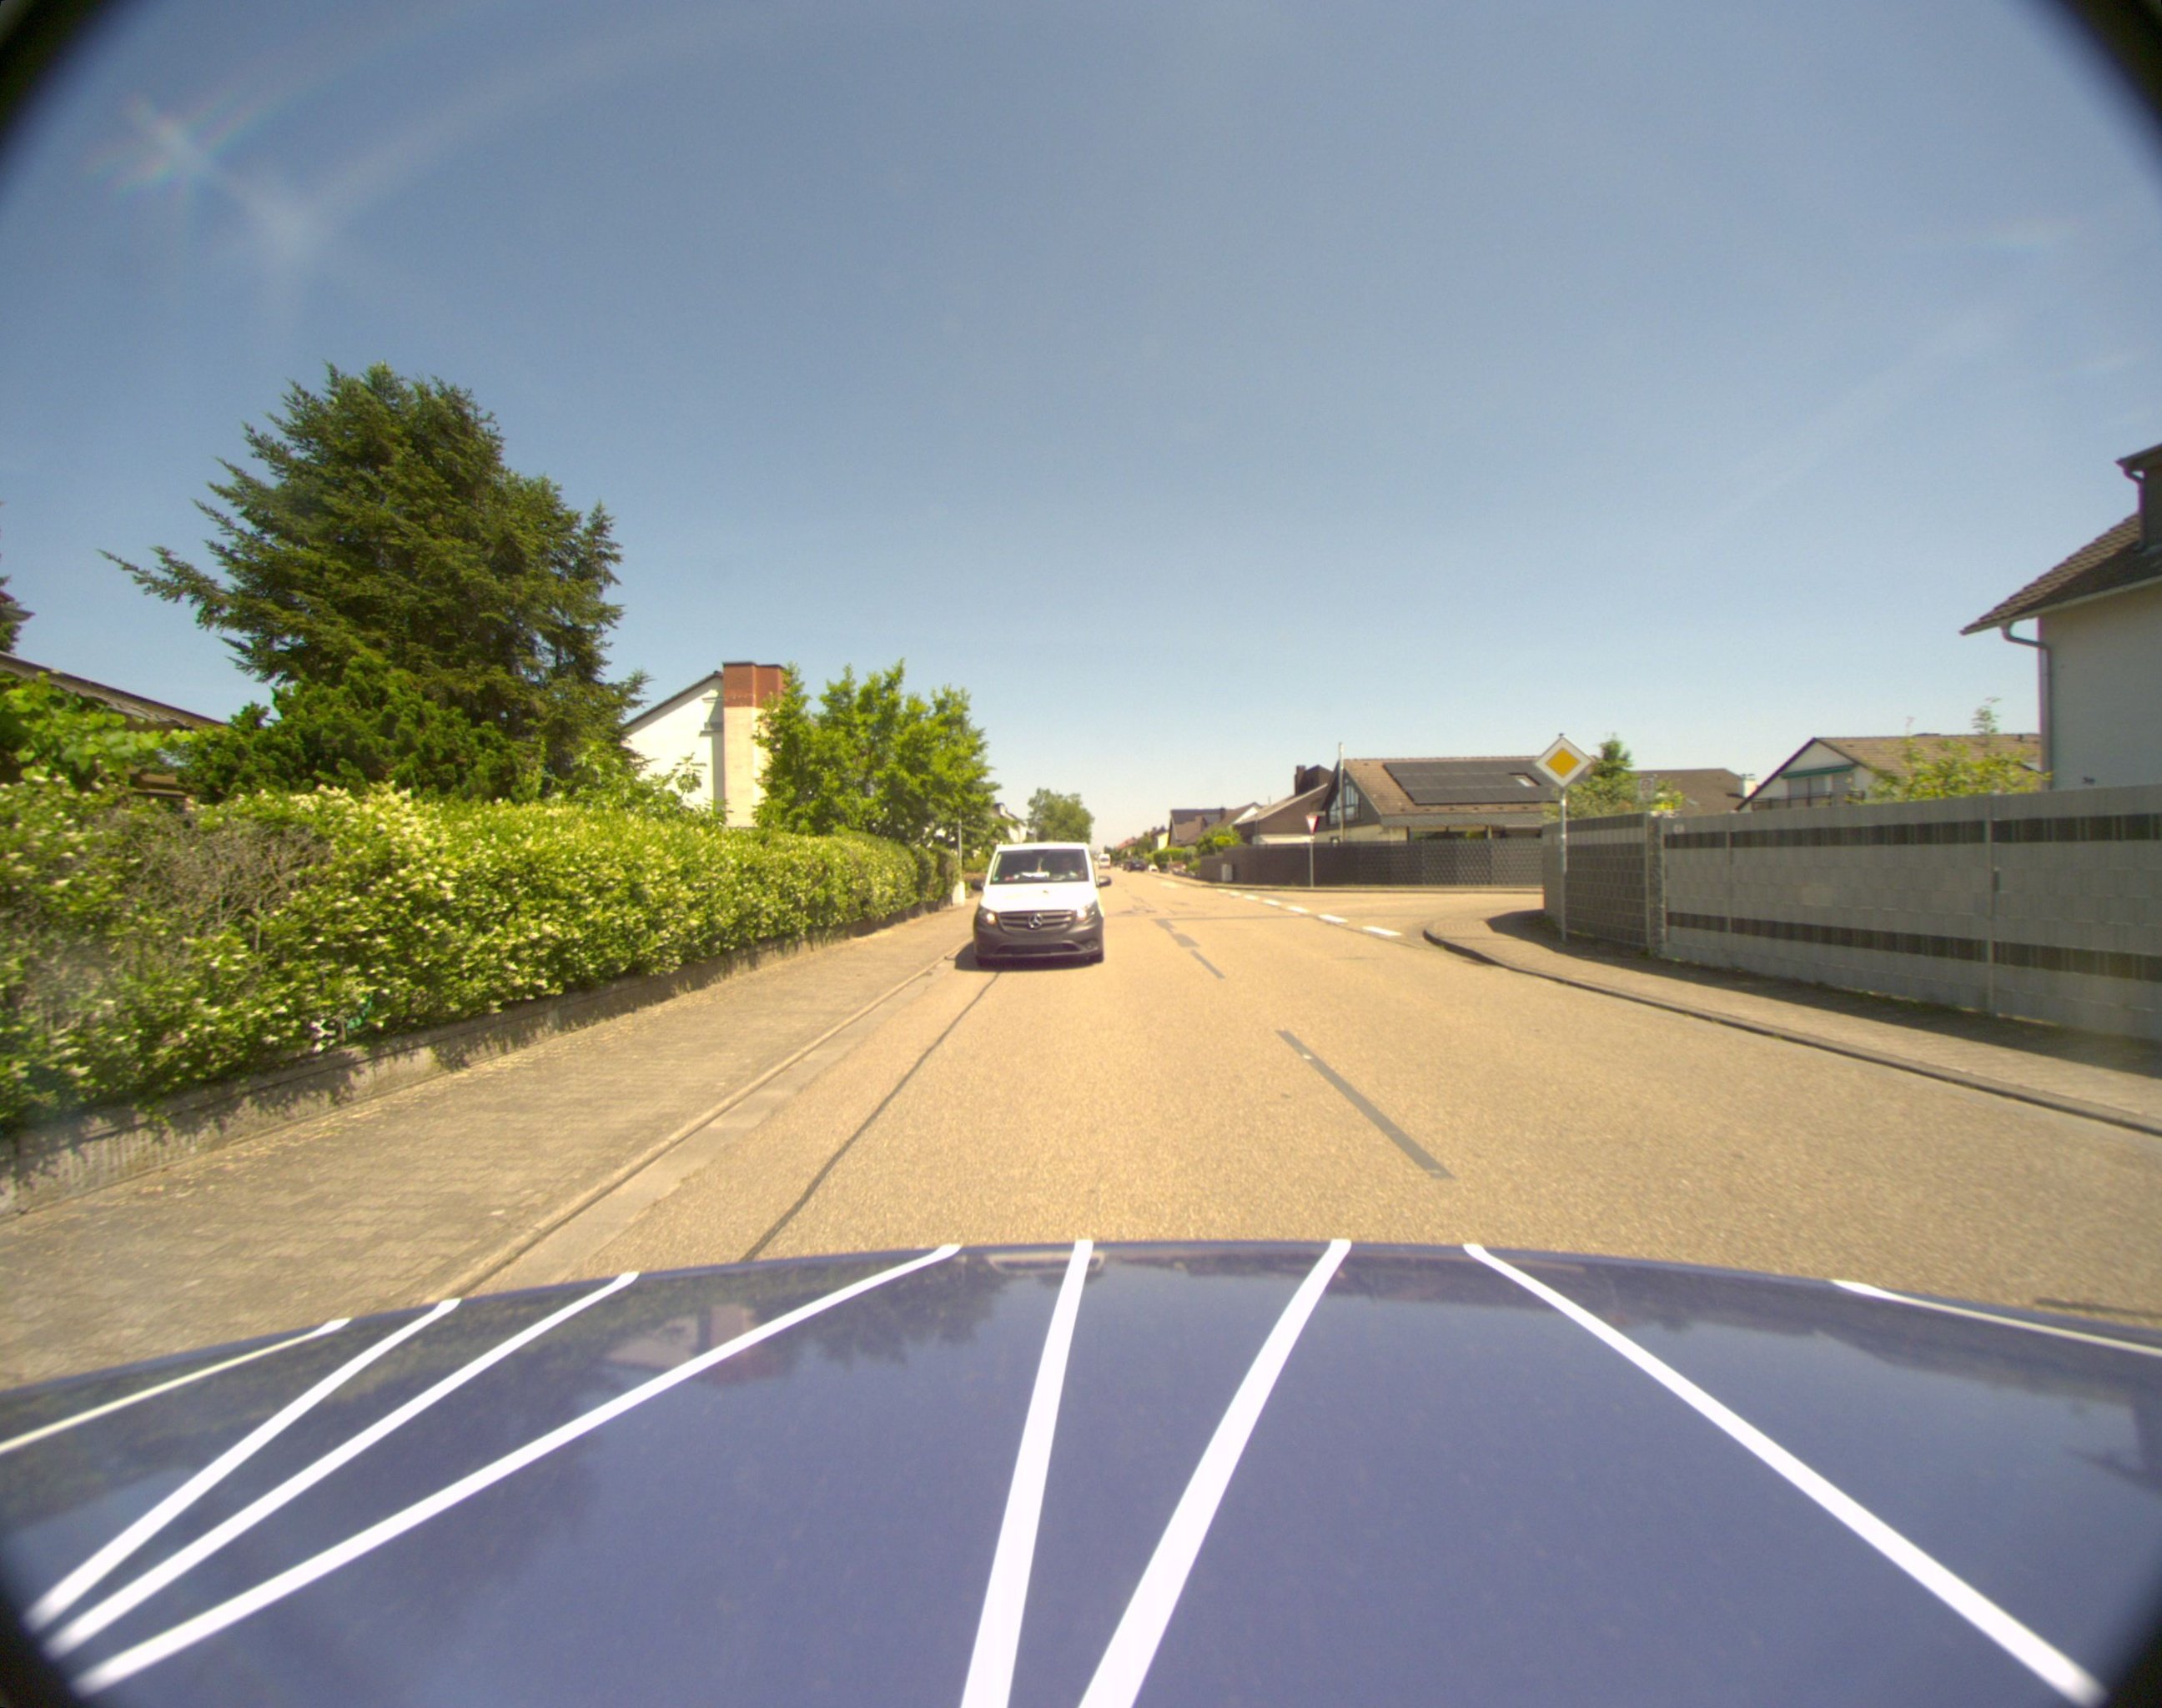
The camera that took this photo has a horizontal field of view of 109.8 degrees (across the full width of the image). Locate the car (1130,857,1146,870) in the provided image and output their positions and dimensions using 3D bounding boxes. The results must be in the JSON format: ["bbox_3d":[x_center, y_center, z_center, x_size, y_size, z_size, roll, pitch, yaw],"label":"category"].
[{"bbox_3d":[6.596,1.085,88.506,1.807,1.390,4.001,-1,0,3],"label":"car"}]

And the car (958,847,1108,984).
[{"bbox_3d":[-0.581,0.832,12.960,2.018,1.845,5.068,-1,0,2],"label":"car"}]

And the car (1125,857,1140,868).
[{"bbox_3d":[7.072,1.175,104.622,1.998,1.390,4.001,-1,0,3],"label":"car"}]

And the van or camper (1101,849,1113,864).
[{"bbox_3d":[4.642,0.468,136.741,2.069,2.576,4.603,-1,0,0],"label":"van or camper"}]
